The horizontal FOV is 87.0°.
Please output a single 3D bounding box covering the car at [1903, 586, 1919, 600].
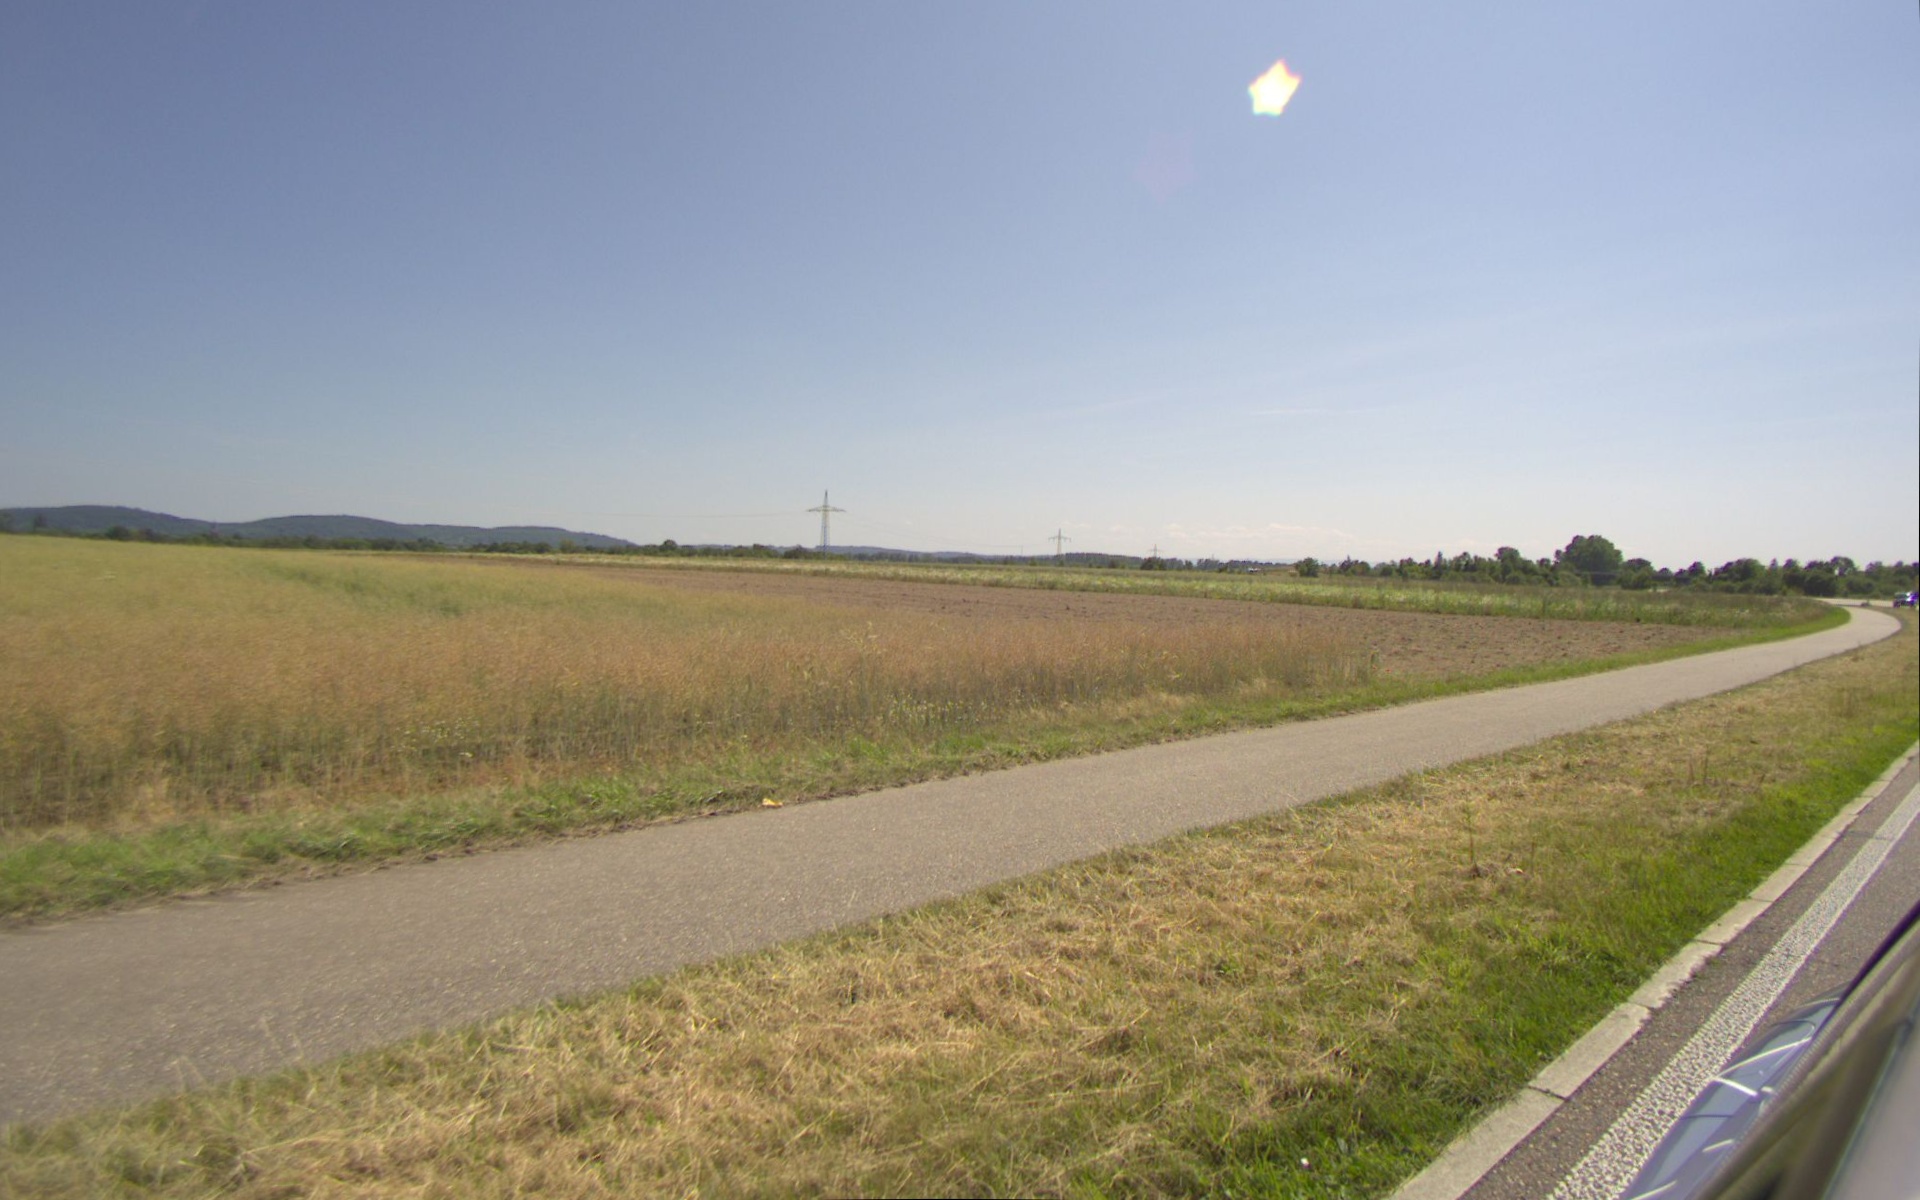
[{"bbox_3d":[112.785,-0.861,119.123,1.973,1.616,5.331,1,1,37],"label":"car"}]
